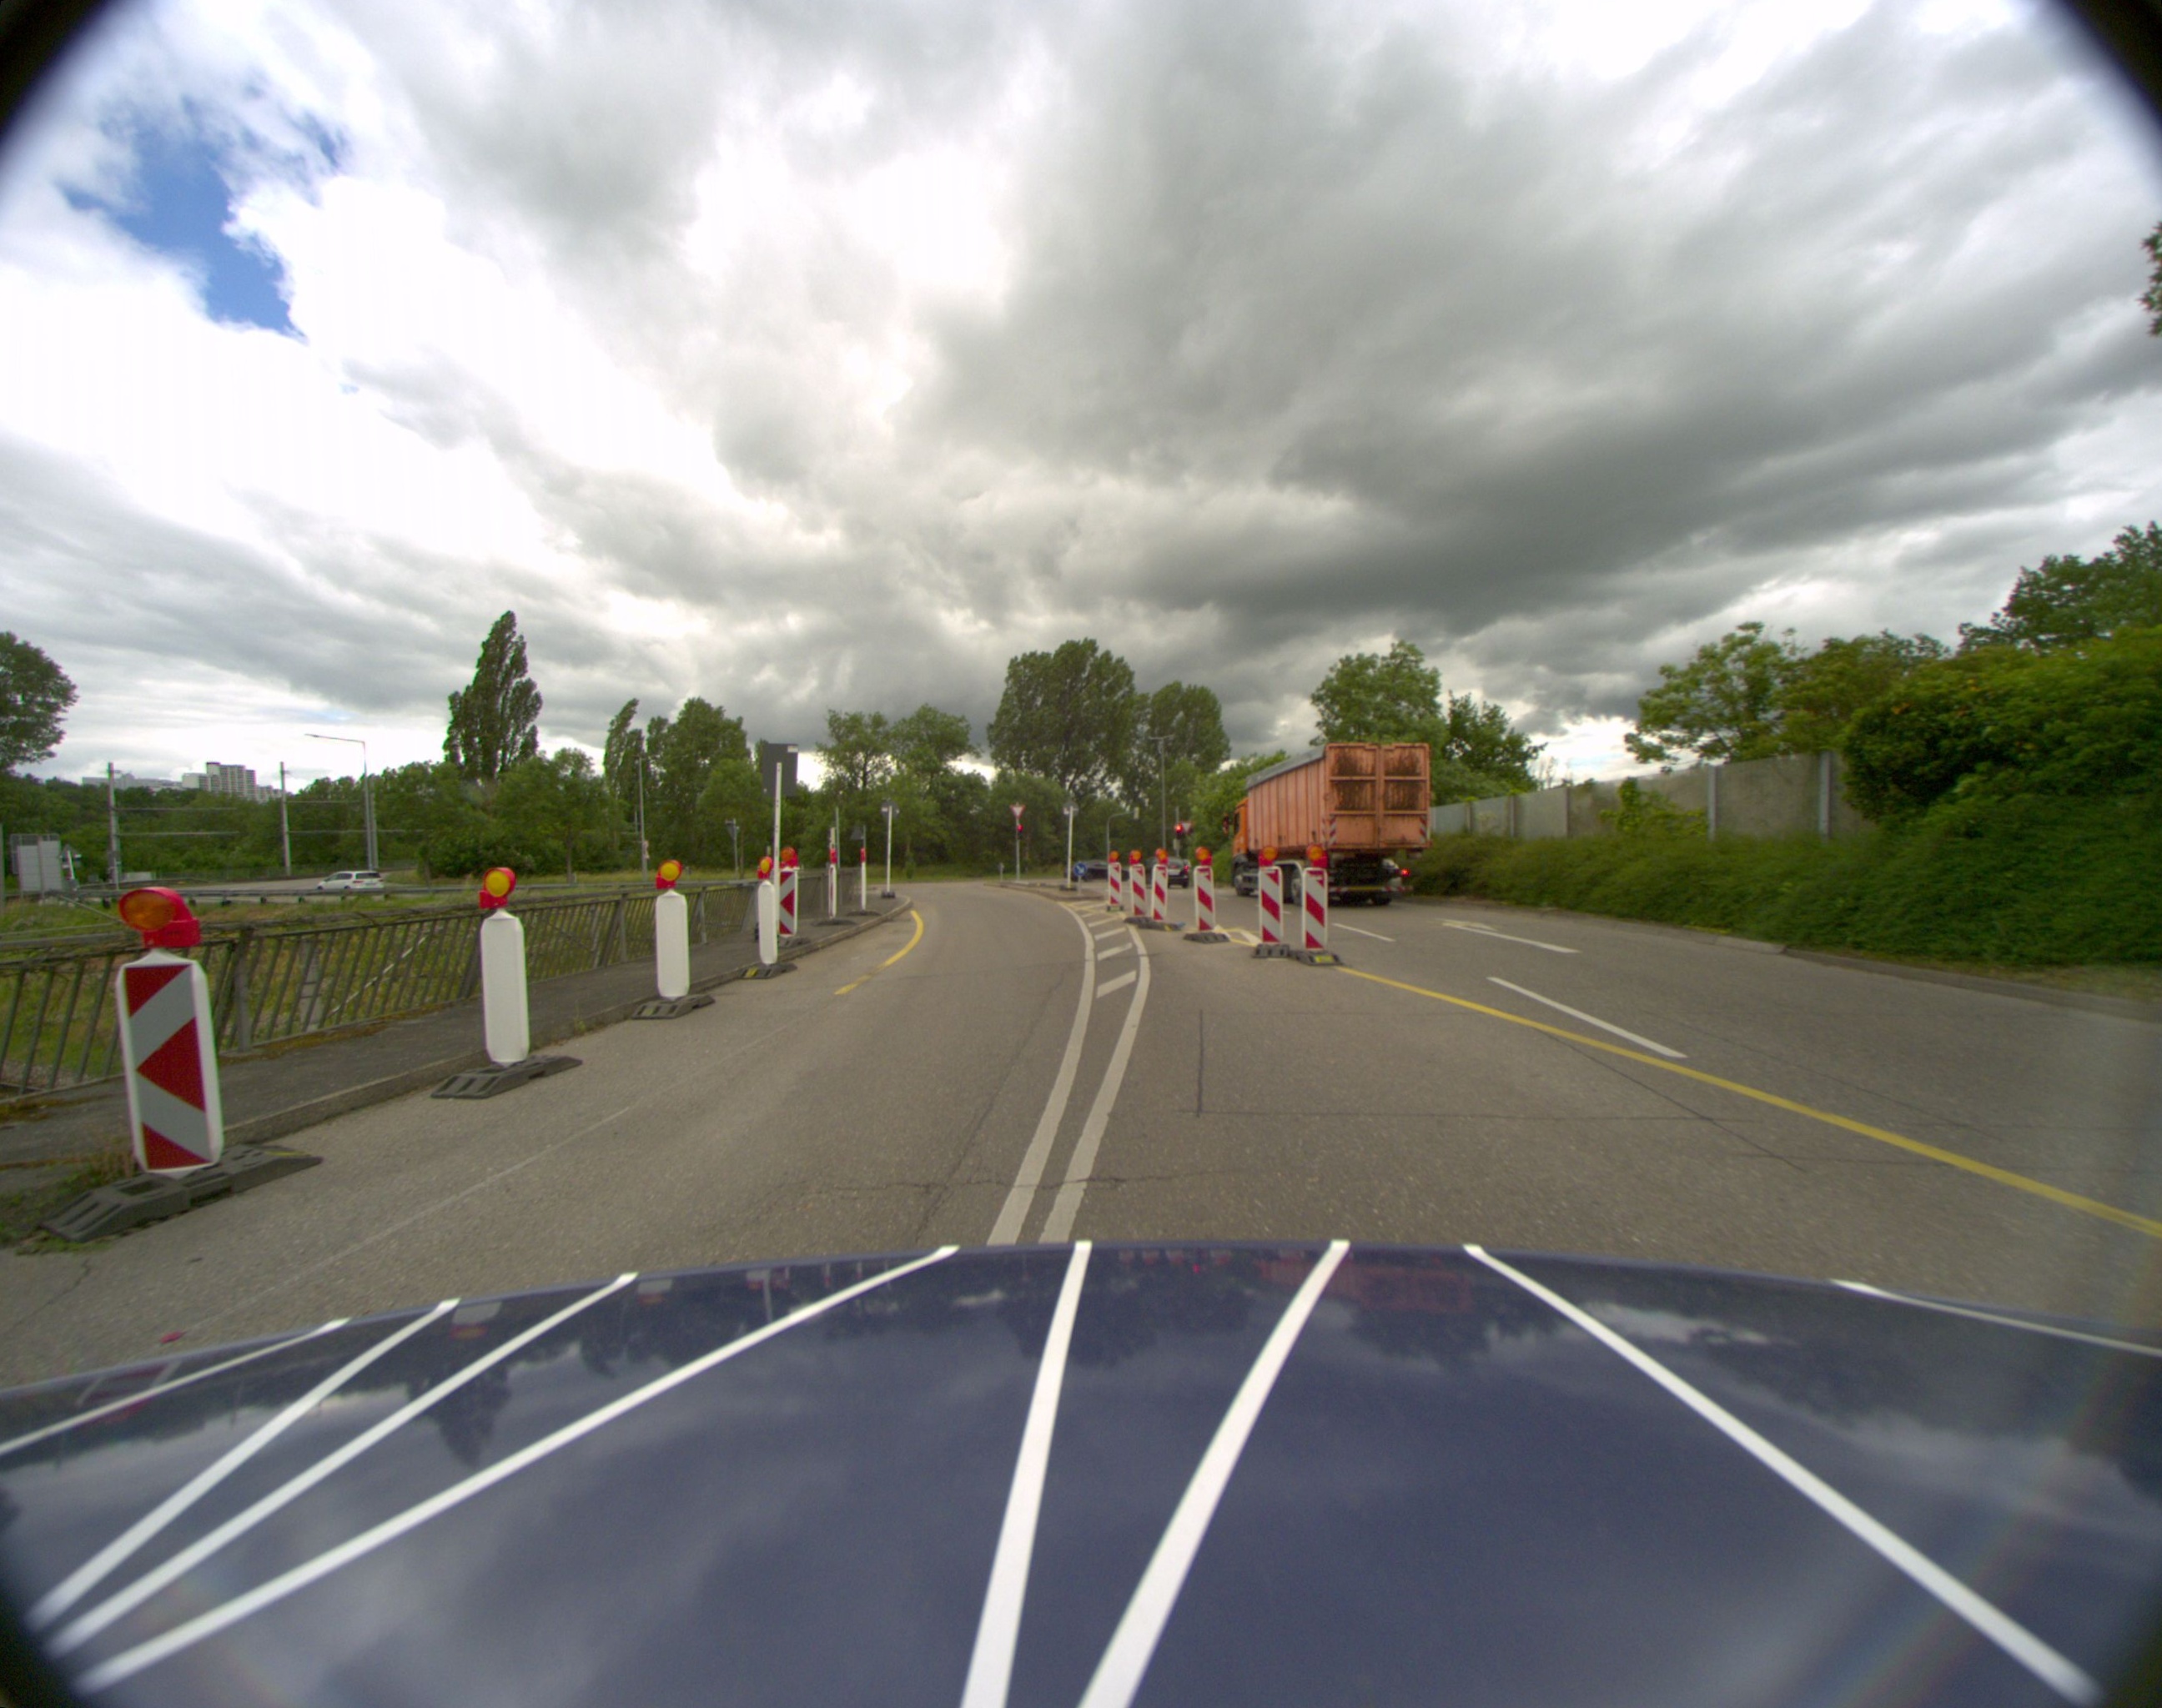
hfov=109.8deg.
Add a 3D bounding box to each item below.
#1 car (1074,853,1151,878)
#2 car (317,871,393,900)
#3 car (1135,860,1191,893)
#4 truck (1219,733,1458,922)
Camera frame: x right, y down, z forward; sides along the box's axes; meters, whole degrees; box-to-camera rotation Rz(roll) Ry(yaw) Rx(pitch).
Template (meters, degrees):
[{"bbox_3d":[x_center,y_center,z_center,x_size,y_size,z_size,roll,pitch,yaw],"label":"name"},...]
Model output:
[{"bbox_3d":[2.170,0.767,51.349,4.972,1.467,1.875,-1,-1,-32],"label":"car"},{"bbox_3d":[-49.457,2.141,51.783,4.313,1.748,2.087,-4,-3,21],"label":"car"},{"bbox_3d":[4.043,1.098,37.959,1.644,1.542,3.785,1,-1,-13],"label":"car"},{"bbox_3d":[6.719,-0.600,22.052,3.119,4.196,9.790,-1,0,-3],"label":"truck"}]
